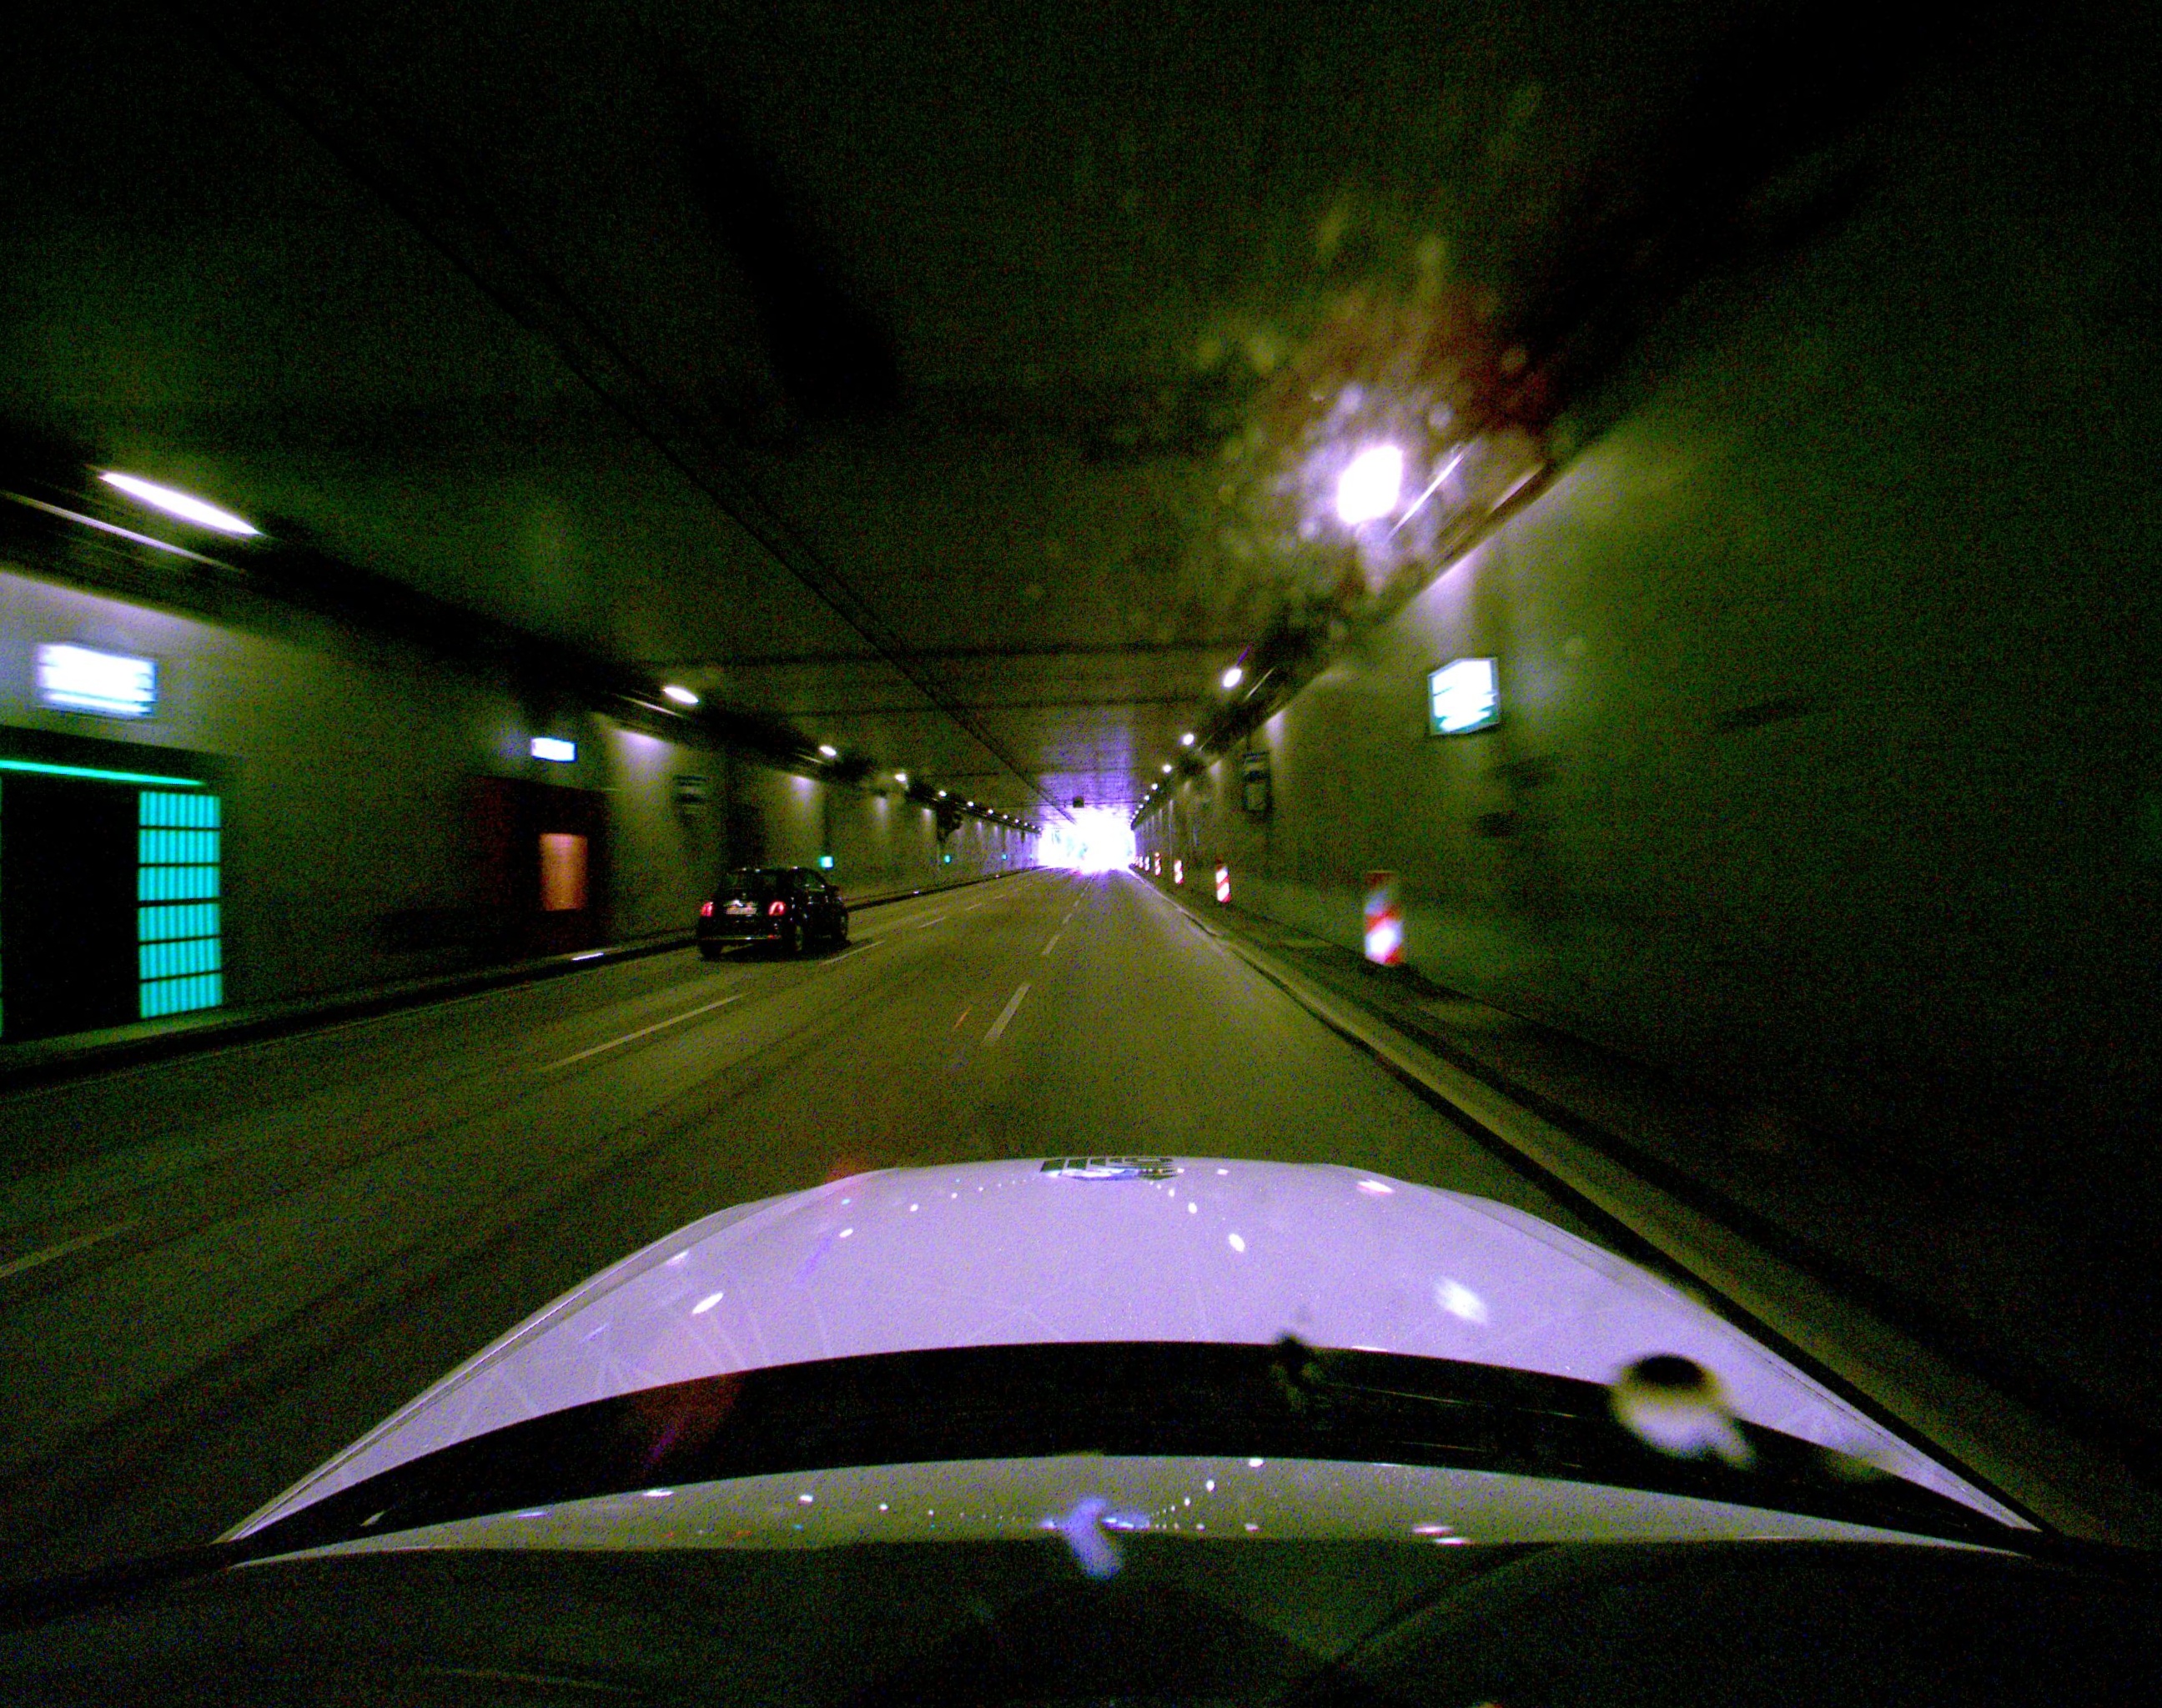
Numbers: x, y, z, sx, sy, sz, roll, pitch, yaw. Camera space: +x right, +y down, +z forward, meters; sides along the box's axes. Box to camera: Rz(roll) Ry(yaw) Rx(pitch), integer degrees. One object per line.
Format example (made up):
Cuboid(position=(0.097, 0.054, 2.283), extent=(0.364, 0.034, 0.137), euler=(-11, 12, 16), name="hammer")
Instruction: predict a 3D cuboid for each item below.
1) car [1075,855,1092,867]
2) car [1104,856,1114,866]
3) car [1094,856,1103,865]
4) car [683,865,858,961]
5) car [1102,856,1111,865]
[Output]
Cuboid(position=(0.258, 0.856, 97.524), extent=(1.988, 1.448, 4.312), euler=(0, 0, -1), name="car")
Cuboid(position=(5.775, 1.389, 168.075), extent=(1.986, 2.014, 4.002), euler=(-2, -1, 2), name="car")
Cuboid(position=(4.135, 1.507, 189.091), extent=(1.986, 2.014, 4.000), euler=(-2, -1, 1), name="car")
Cuboid(position=(-5.383, 0.956, 14.596), extent=(1.606, 1.454, 3.574), euler=(-1, -1, 2), name="car")
Cuboid(position=(6.080, 1.650, 195.331), extent=(1.986, 2.014, 4.000), euler=(-2, -1, 1), name="car")
